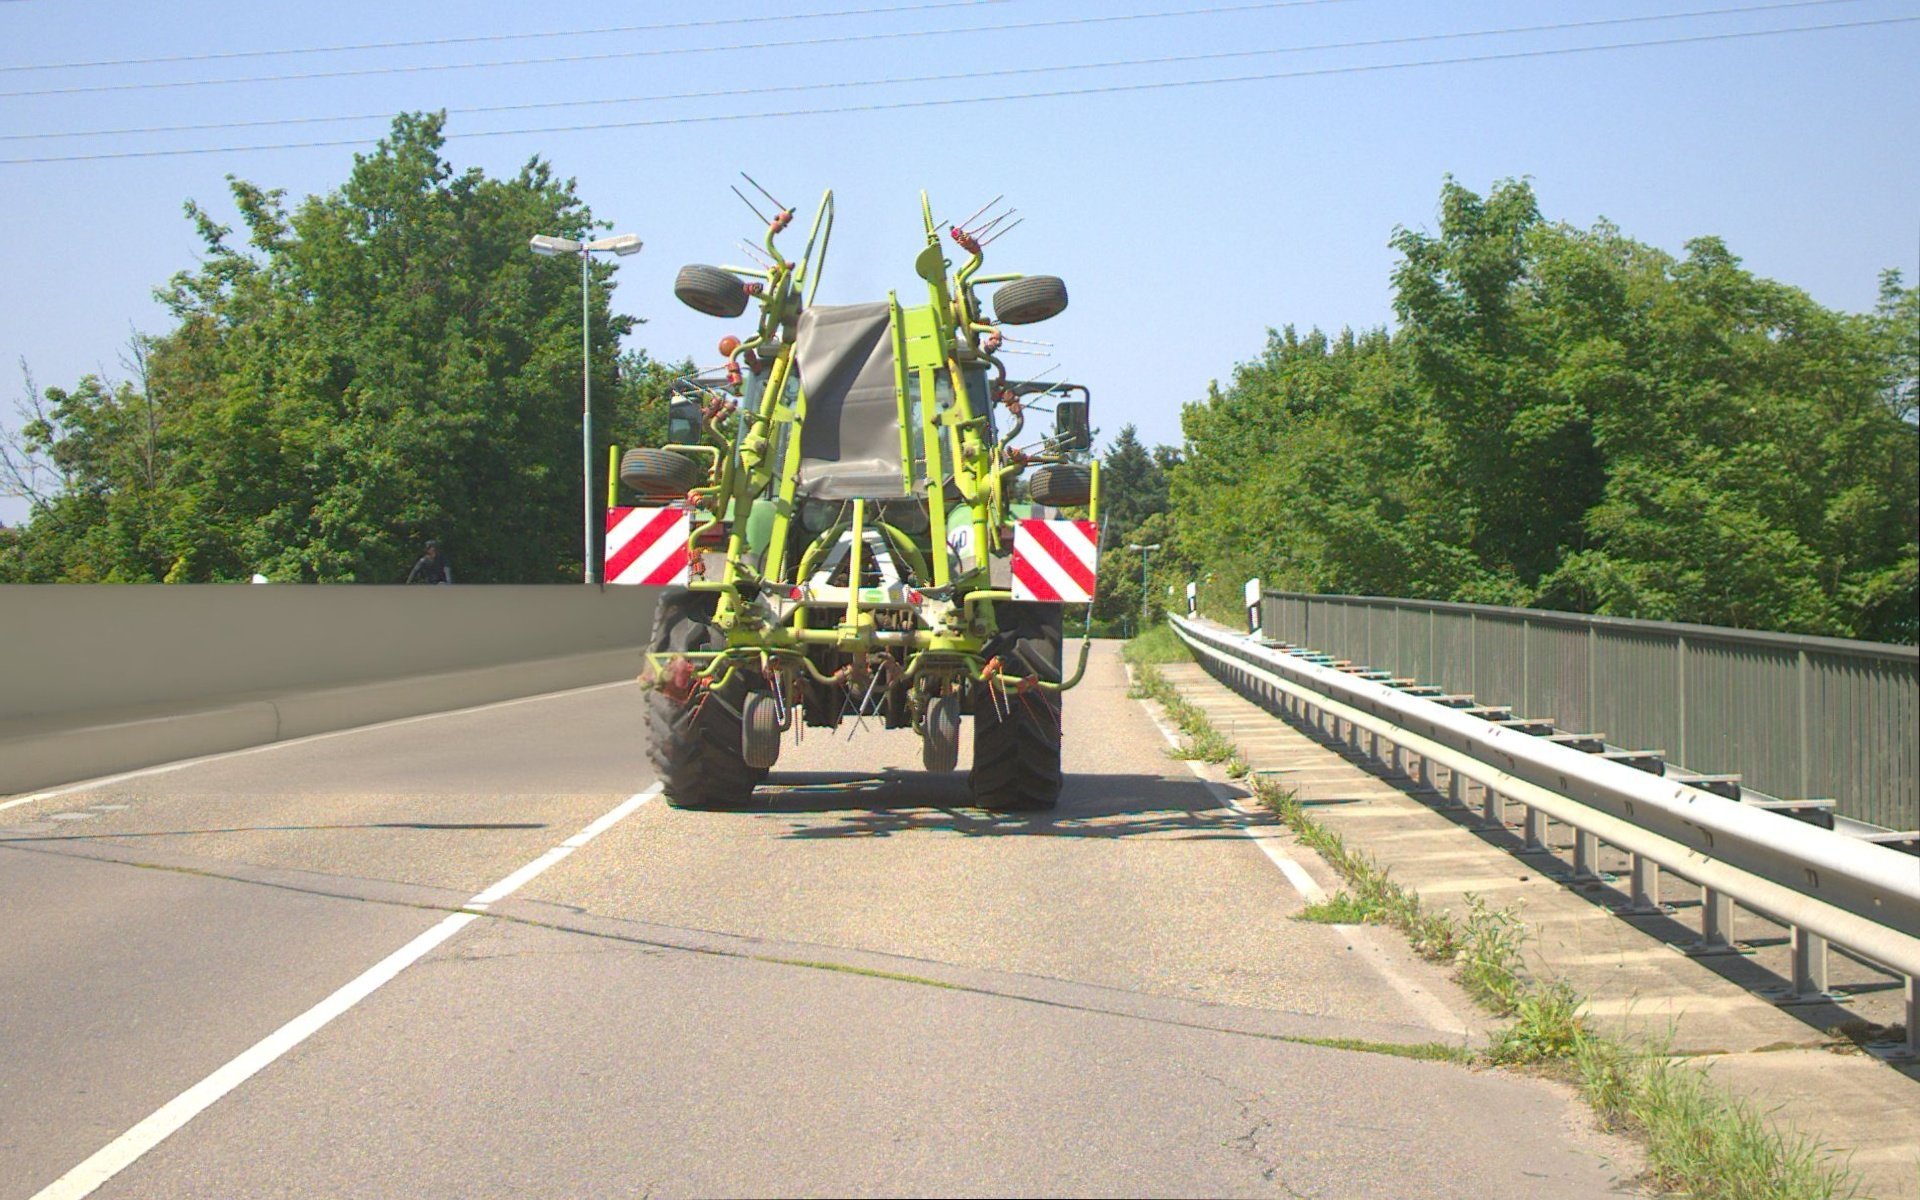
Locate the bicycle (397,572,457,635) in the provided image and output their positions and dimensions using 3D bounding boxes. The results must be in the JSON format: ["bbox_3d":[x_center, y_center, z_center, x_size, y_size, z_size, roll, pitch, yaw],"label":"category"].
[{"bbox_3d":[-8.869,0.042,57.283,0.677,0.998,2.119,0,1,-1],"label":"bicycle"}]

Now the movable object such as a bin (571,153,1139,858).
[{"bbox_3d":[-0.568,-0.529,19.671,2.755,3.432,5.670,0,1,-1],"label":"movable object such as a bin"}]

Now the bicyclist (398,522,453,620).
[{"bbox_3d":[-8.905,-0.487,57.257,0.765,1.628,0.895,0,1,0],"label":"bicyclist"}]
